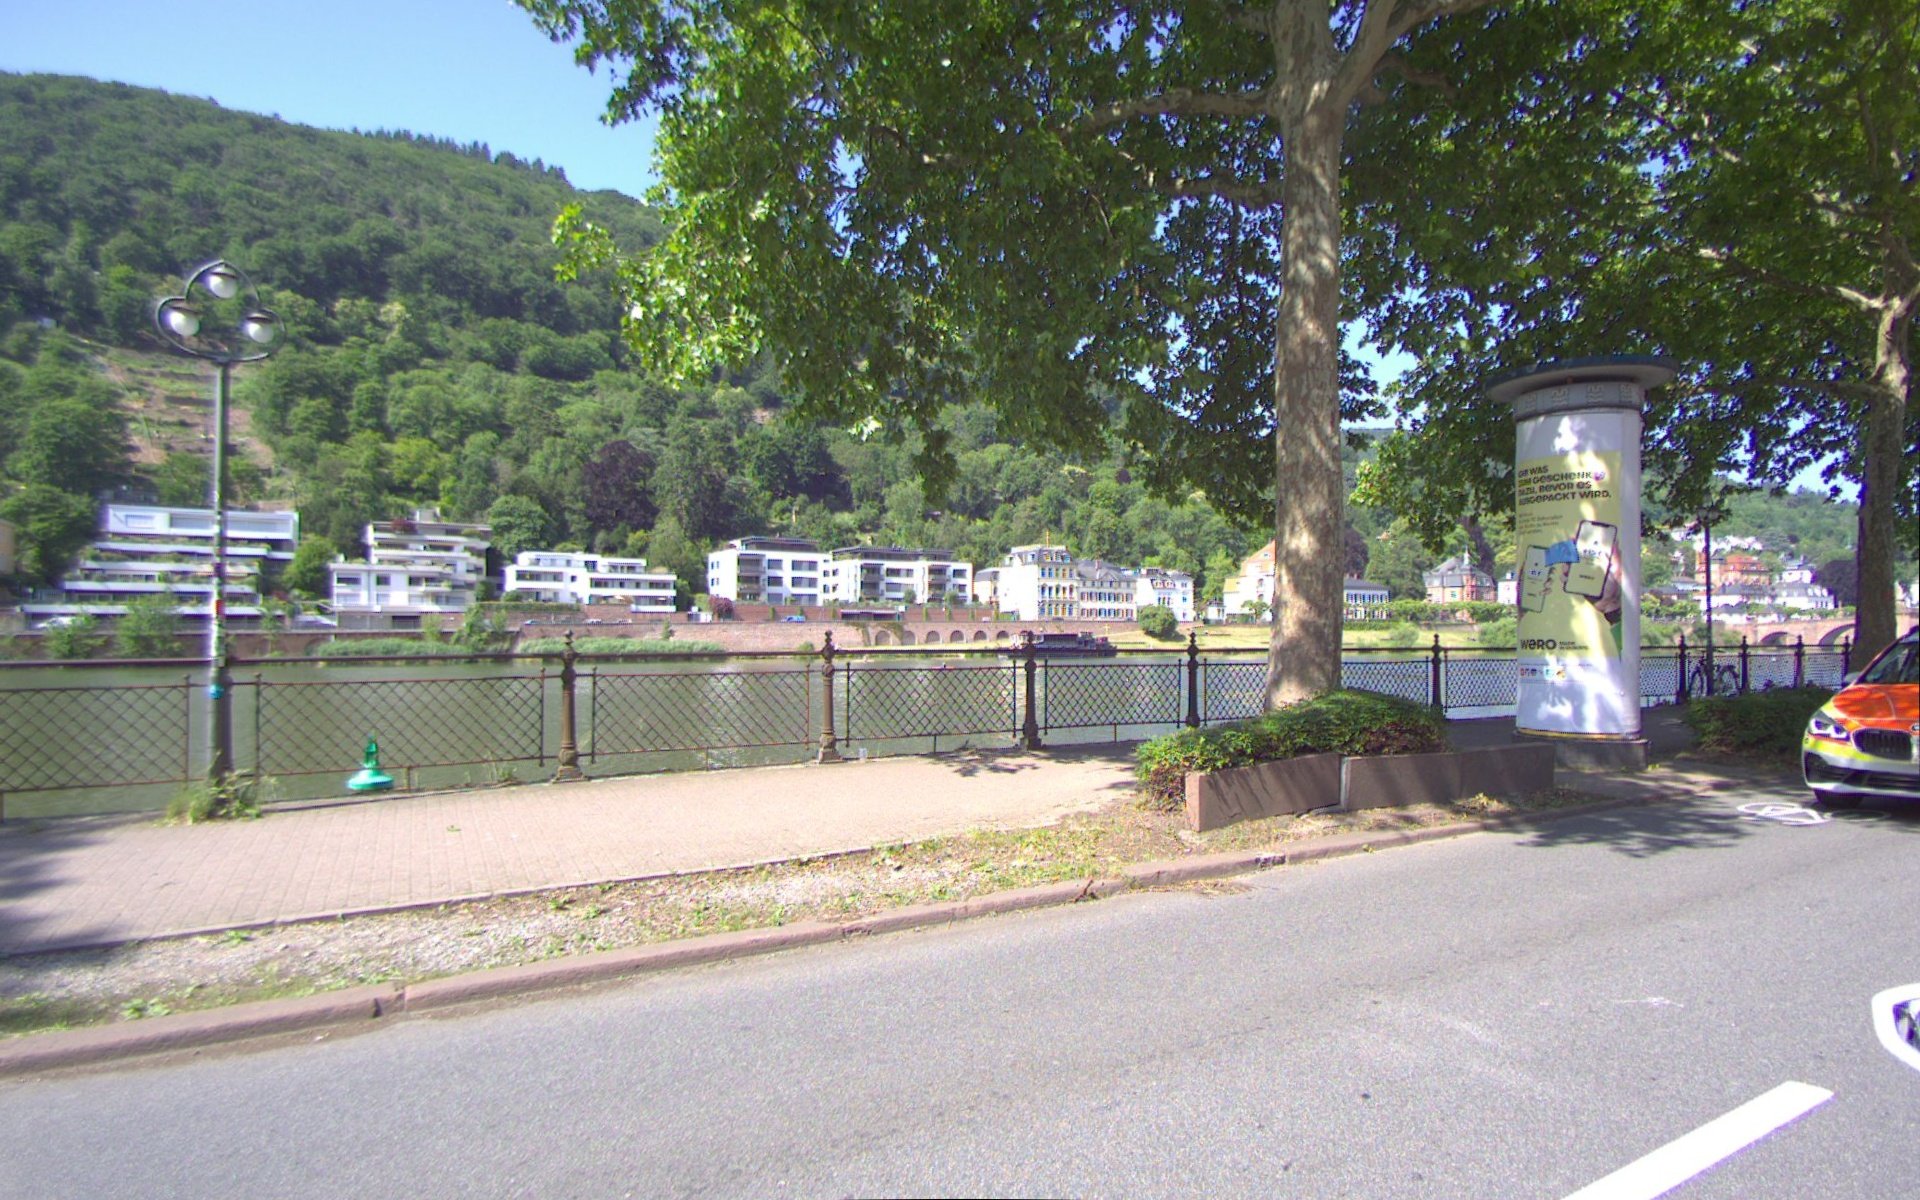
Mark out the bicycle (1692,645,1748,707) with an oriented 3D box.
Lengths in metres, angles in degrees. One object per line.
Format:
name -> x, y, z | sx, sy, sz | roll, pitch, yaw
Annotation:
bicycle -> 14.352, 1.425, 18.954 | 1.281, 1.106, 0.357 | 1, 2, -31

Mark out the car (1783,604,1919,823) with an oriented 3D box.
car -> 9.193, 0.907, 8.811 | 4.174, 1.681, 1.666 | 1, -5, -31

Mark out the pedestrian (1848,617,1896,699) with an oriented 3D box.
pedestrian -> 19.508, 1.230, 21.485 | 0.577, 1.708, 0.598 | 1, -2, -31

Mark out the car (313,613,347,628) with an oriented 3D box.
car -> -88.465, 2.864, 141.093 | 3.953, 2.040, 1.984 | 2, 0, -30

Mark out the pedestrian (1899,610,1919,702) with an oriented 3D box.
pedestrian -> 20.065, 1.162, 20.967 | 0.431, 1.912, 0.531 | 1, 0, -30

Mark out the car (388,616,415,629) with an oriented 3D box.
car -> -94.749, 3.755, 170.485 | 3.953, 2.041, 1.984 | -1, 1, -30
